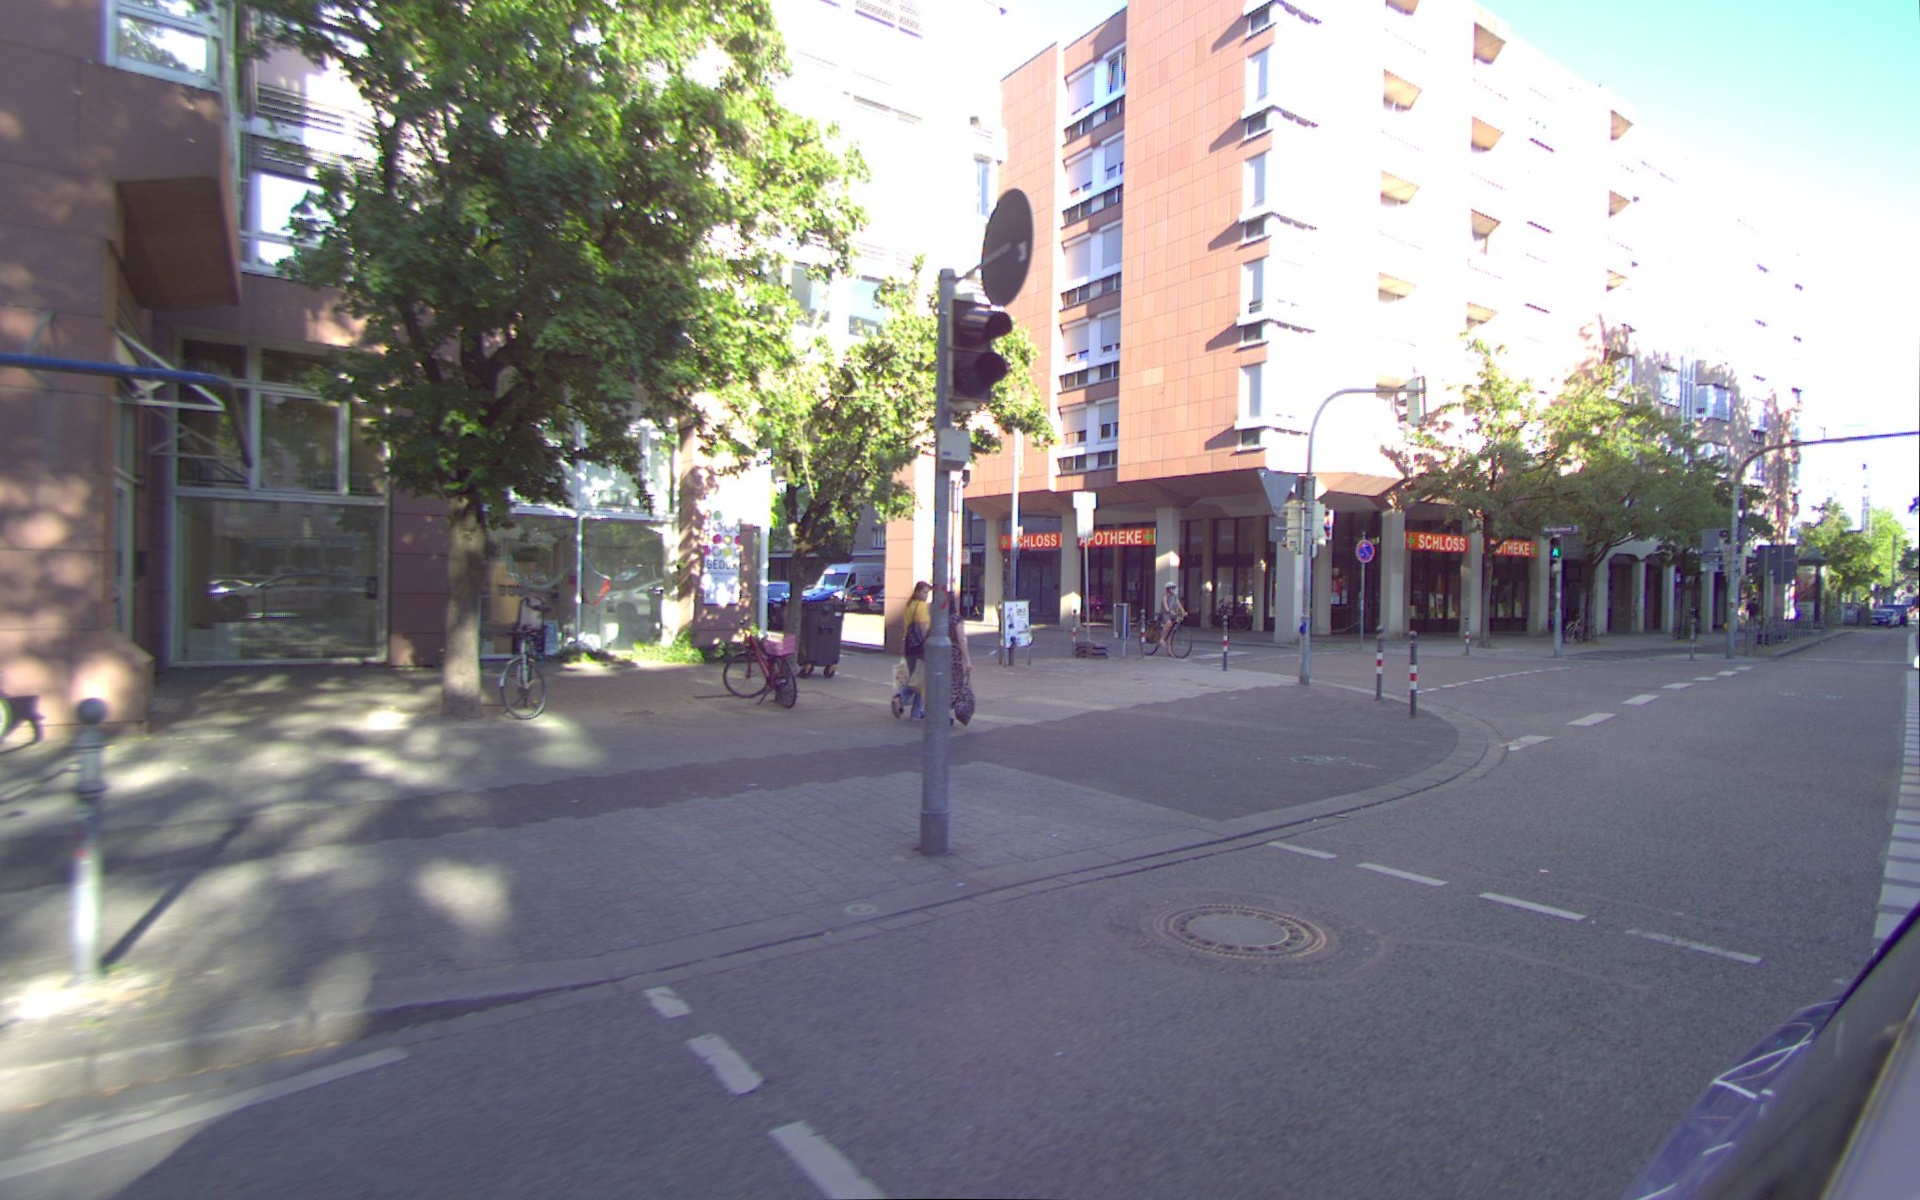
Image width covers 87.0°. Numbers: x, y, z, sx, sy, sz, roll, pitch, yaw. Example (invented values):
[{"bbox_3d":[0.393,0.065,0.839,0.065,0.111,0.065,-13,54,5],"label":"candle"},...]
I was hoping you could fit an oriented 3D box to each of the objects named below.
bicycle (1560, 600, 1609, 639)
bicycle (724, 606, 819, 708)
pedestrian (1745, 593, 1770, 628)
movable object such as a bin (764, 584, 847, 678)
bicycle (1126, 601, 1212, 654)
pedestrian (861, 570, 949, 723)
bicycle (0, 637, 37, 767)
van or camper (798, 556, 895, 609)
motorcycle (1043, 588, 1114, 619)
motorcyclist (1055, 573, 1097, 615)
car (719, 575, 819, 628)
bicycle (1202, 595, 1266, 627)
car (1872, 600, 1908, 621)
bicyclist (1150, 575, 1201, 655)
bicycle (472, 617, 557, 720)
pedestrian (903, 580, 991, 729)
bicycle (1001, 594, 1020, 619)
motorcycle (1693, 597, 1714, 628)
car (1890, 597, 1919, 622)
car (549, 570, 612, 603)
[{"bbox_3d":[20.687,0.637,33.529,1.889,1.241,0.624,1,0,-33],"label":"bicycle"},{"bbox_3d":[-2.534,0.718,13.505,0.567,1.242,1.571,1,0,-39],"label":"bicycle"},{"bbox_3d":[40.575,0.532,51.472,0.821,1.760,0.783,1,0,-36],"label":"pedestrian"},{"bbox_3d":[-2.611,0.488,17.036,0.855,1.500,1.415,1,0,-33],"label":"movable object such as a bin"},{"bbox_3d":[4.813,0.606,23.446,0.788,1.127,1.921,0,1,-36],"label":"bicycle"},{"bbox_3d":[-0.652,0.524,12.065,0.700,1.755,0.756,1,0,43],"label":"pedestrian"},{"bbox_3d":[-8.037,0.784,7.512,1.721,0.951,0.738,0,1,-41],"label":"bicycle"},{"bbox_3d":[-6.178,-0.954,56.136,2.334,2.801,6.396,1,1,26],"label":"van or camper"},{"bbox_3d":[4.961,0.126,42.468,1.325,1.193,2.825,1,1,-40],"label":"motorcycle"},{"bbox_3d":[4.886,-0.261,42.610,1.312,1.710,1.173,0,0,-42],"label":"motorcyclist"},{"bbox_3d":[-6.680,0.006,35.074,1.768,1.743,4.198,0,1,-36],"label":"car"},{"bbox_3d":[10.062,0.376,37.289,0.582,1.108,2.450,0,1,-36],"label":"bicycle"},{"bbox_3d":[72.912,0.816,79.291,4.176,1.502,1.704,1,2,-43],"label":"car"},{"bbox_3d":[4.947,0.323,23.267,0.773,1.792,0.827,0,1,-37],"label":"bicyclist"},{"bbox_3d":[-5.221,0.765,11.950,0.724,1.066,1.756,1,1,-18],"label":"bicycle"},{"bbox_3d":[-0.148,0.586,11.363,0.735,1.598,0.645,1,0,-41],"label":"pedestrian"},{"bbox_3d":[2.118,0.256,42.596,0.600,1.032,1.319,1,1,-6],"label":"bicycle"},{"bbox_3d":[34.114,0.579,46.419,0.488,1.390,2.057,1,0,45],"label":"motorcycle"},{"bbox_3d":[82.482,0.822,88.154,2.038,1.967,5.117,4,2,43],"label":"car"},{"bbox_3d":[-23.992,-0.836,64.003,3.643,1.997,1.734,0,1,-24],"label":"car"}]
